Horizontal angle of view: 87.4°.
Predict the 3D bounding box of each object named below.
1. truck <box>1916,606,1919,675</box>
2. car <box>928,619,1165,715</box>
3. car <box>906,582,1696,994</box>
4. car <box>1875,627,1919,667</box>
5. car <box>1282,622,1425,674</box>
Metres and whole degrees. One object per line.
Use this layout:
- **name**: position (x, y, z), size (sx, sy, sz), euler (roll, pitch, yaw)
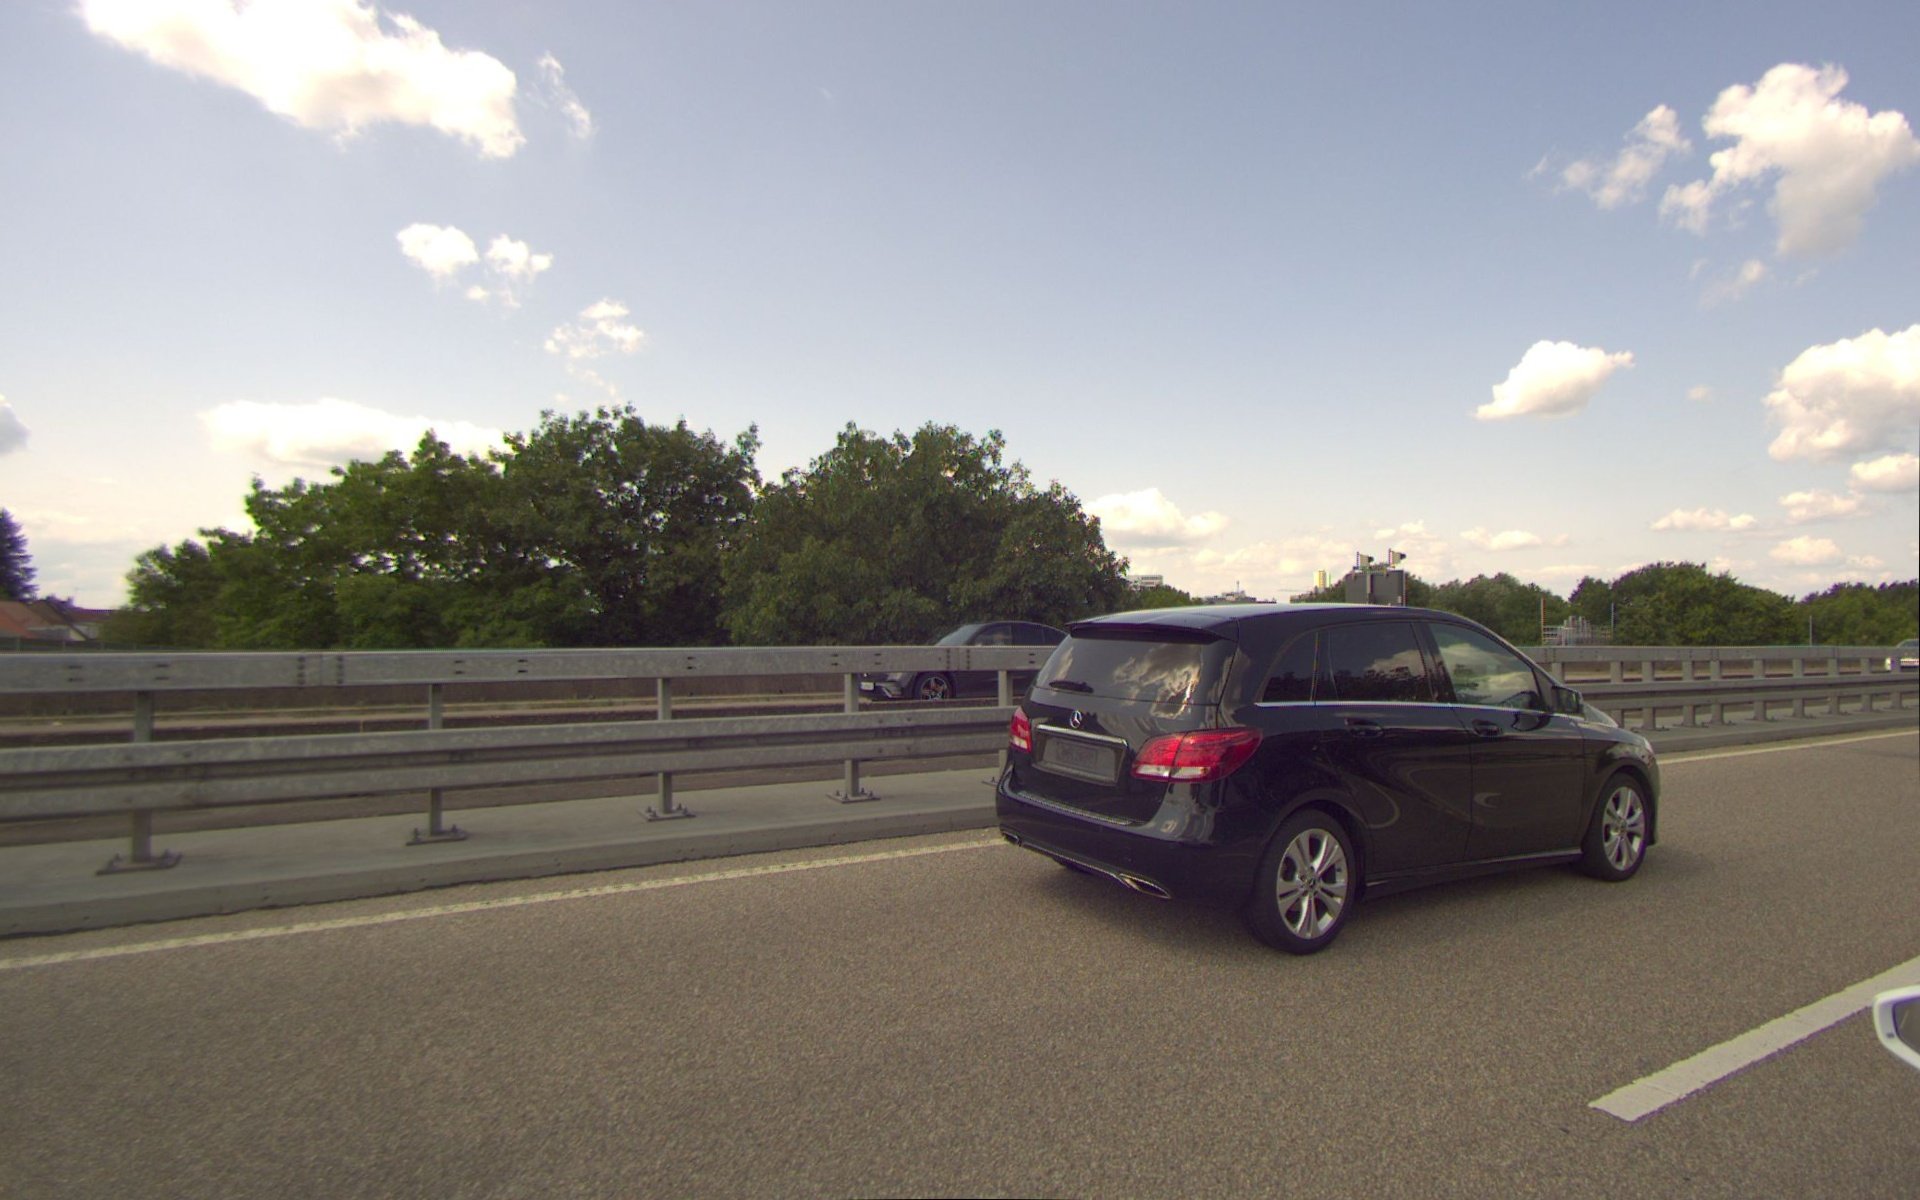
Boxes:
- **truck**: position (33.758, 1.383, 33.110), size (5.126, 2.216, 1.864), euler (2, 0, -30)
- **car**: position (1.759, 1.261, 19.895), size (4.464, 1.662, 1.879), euler (2, 0, -33)
- **car**: position (2.101, 0.752, 5.687), size (4.540, 1.548, 1.703), euler (2, 0, -31)
- **car**: position (41.098, 2.014, 42.938), size (3.906, 1.602, 1.821), euler (2, 0, -30)
- **car**: position (16.109, 1.938, 41.261), size (5.069, 1.923, 1.999), euler (1, 0, -5)
